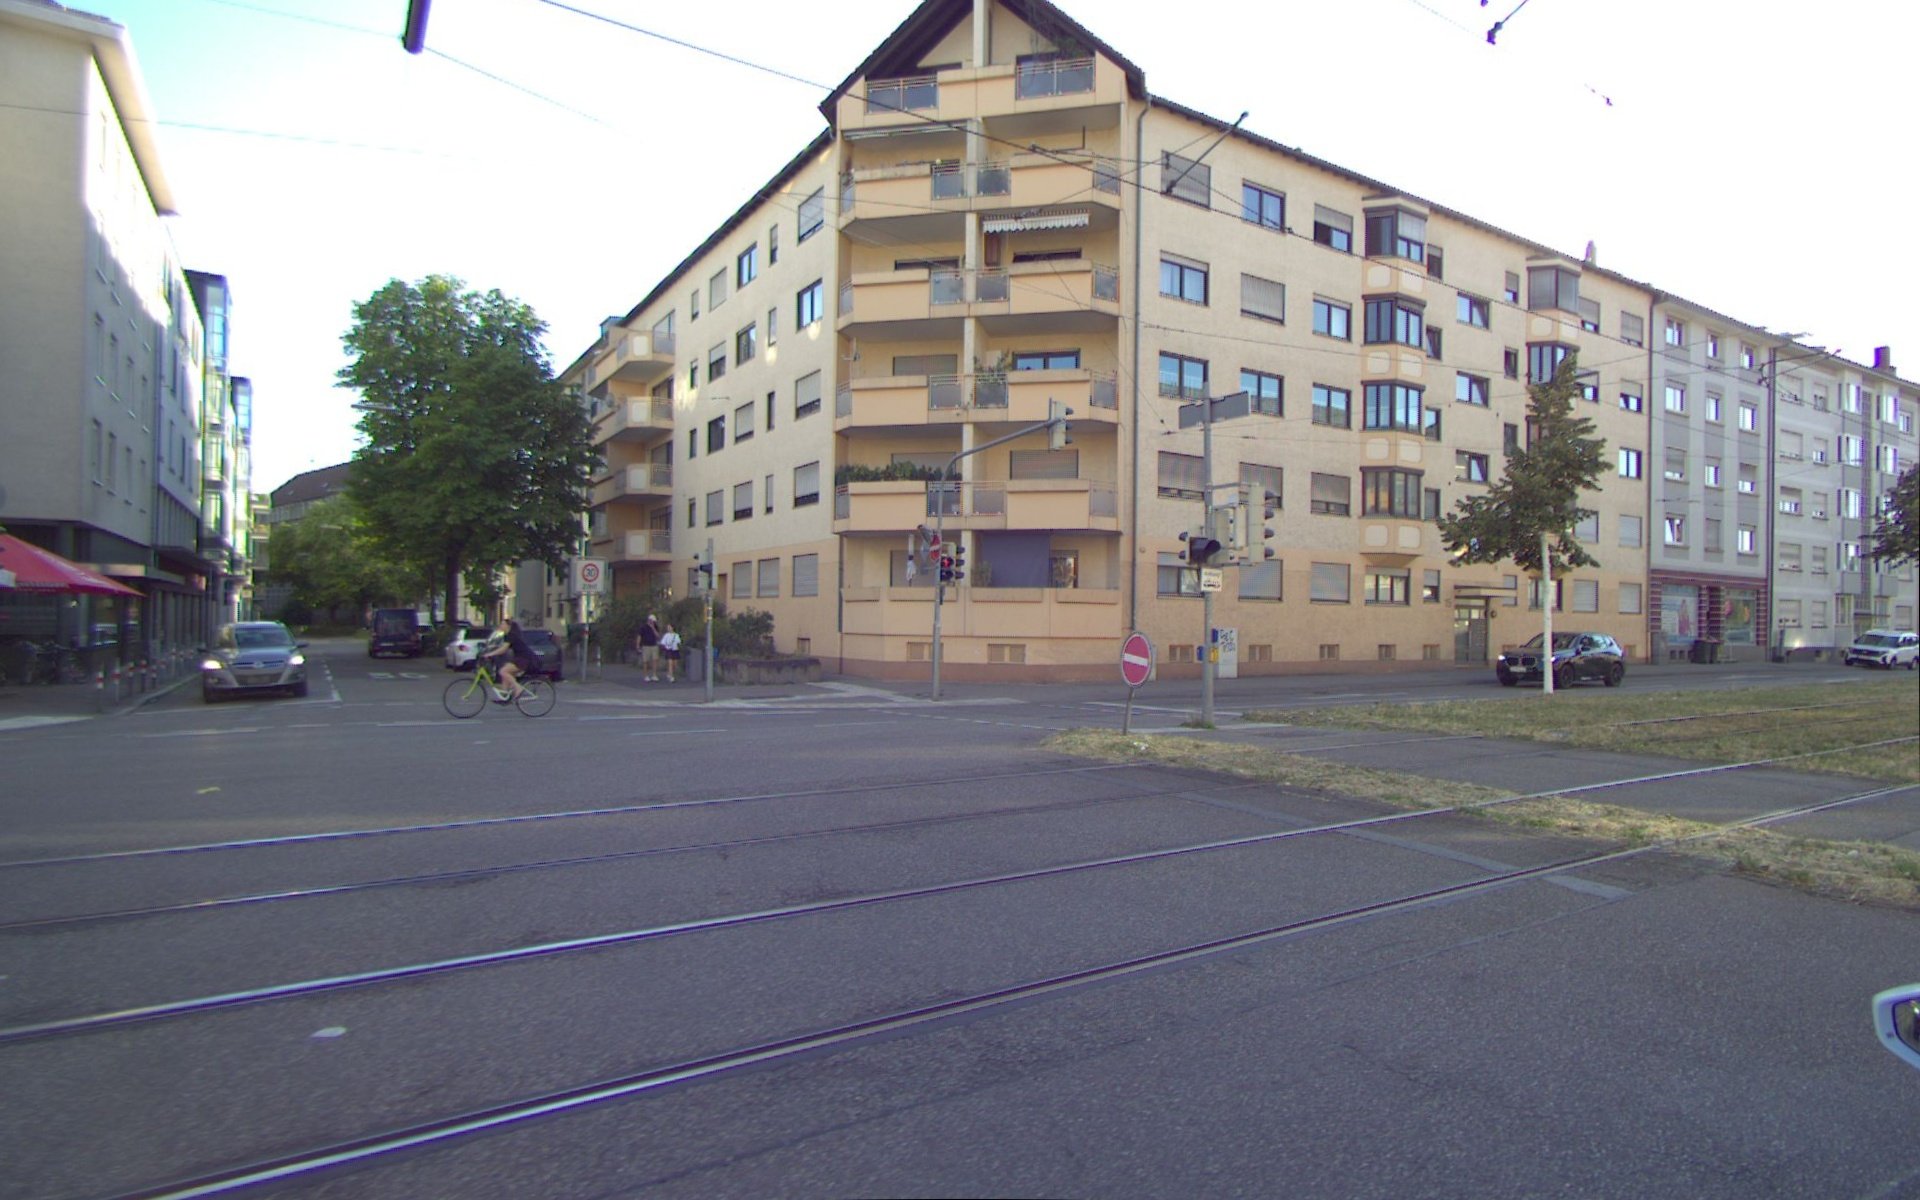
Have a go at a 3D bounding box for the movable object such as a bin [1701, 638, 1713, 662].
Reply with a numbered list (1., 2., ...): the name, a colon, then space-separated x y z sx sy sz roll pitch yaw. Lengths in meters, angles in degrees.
1. movable object such as a bin: 33.256 2.219 44.718 0.437 1.050 0.296 2 0 -33

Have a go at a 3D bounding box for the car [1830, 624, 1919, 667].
1. car: 45.179 2.255 49.523 4.487 1.950 1.985 2 0 -29

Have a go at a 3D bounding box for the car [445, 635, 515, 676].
1. car: -16.625 1.887 34.699 1.754 1.280 3.279 2 -1 -33

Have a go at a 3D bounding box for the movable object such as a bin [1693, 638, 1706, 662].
1. movable object such as a bin: 32.732 2.211 44.462 0.437 1.050 0.296 2 0 -33

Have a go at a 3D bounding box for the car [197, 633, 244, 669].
1. car: -30.089 2.049 40.919 1.417 1.293 3.322 2 -1 -35

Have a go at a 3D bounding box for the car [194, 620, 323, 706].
1. car: -15.592 1.303 22.230 1.984 1.645 4.149 -1 0 -40

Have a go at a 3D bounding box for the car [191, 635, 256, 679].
1. car: -25.142 1.924 34.361 1.487 1.328 3.106 2 -1 -32

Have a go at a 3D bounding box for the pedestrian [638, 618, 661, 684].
1. pedestrian: -8.395 1.375 27.150 0.457 1.727 0.588 2 0 -27

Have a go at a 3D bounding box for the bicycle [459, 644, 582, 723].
1. bicycle: -7.422 1.392 16.990 1.848 1.274 0.453 2 -1 -30

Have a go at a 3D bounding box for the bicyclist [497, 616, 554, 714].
1. bicyclist: -7.378 1.075 17.039 0.800 1.607 0.623 1 0 -32

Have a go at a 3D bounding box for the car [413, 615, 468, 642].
1. car: -37.022 2.041 71.594 3.446 1.819 1.689 2 0 -29

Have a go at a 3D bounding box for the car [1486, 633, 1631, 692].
1. car: 18.309 1.870 30.669 4.695 1.655 1.887 2 -2 -32

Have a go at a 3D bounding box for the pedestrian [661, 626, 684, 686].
1. pedestrian: -7.770 1.500 27.156 0.509 1.573 0.547 0 1 -27

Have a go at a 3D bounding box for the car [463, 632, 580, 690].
1. car: -12.483 1.663 28.474 1.984 1.461 3.954 -1 -1 -40

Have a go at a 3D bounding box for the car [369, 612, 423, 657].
1. car: -27.238 1.622 48.462 1.979 2.040 3.963 2 -1 -33
